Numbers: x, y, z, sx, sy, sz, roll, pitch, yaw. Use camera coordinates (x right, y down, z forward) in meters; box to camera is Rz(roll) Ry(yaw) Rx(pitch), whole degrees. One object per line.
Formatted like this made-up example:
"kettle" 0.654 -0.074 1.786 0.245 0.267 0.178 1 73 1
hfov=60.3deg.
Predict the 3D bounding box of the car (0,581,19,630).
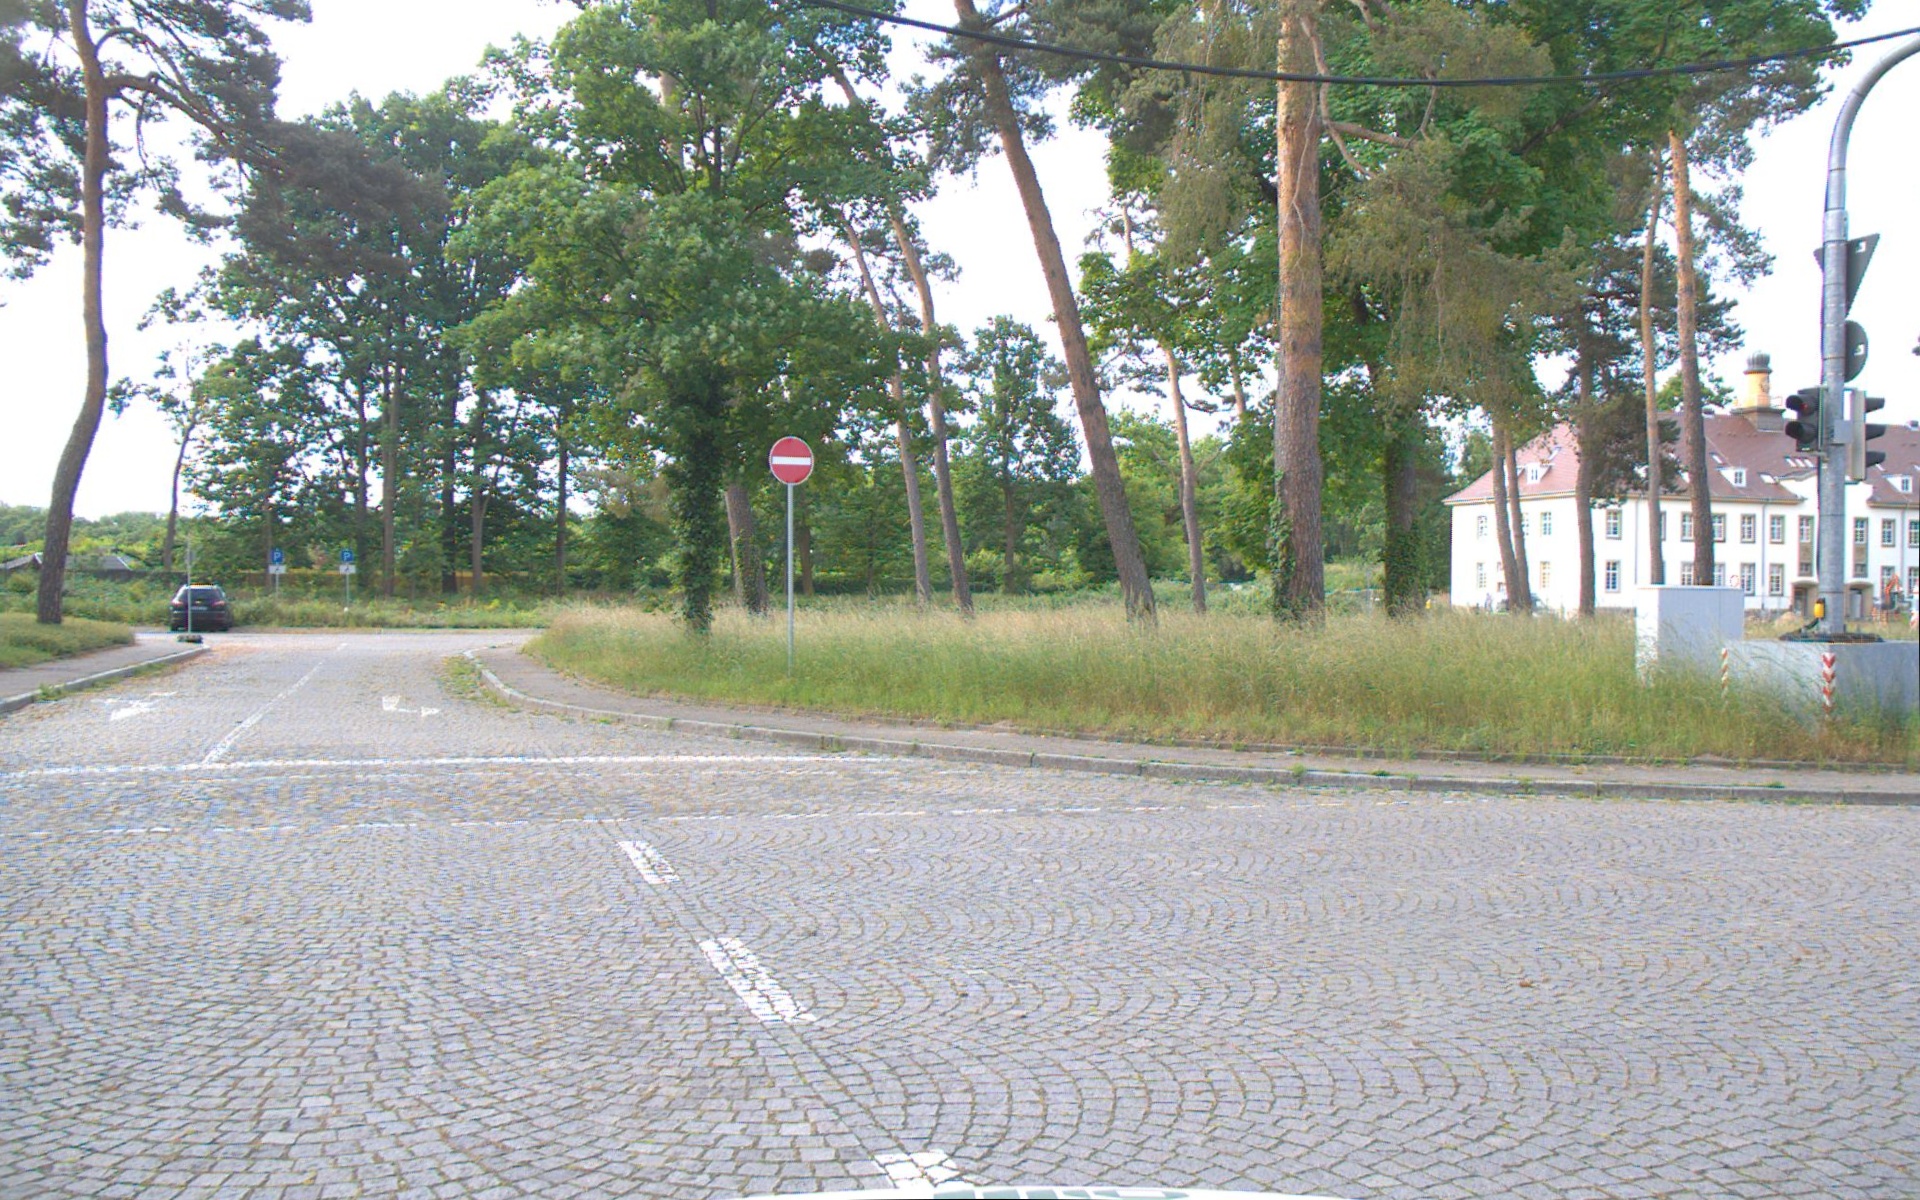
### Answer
"car" -33.036 0.170 55.298 1.682 1.638 4.042 2 0 -15

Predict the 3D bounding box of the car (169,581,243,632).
"car" -25.972 0.205 57.079 1.683 1.638 4.040 2 0 -16

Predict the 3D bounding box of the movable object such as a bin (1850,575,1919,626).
"movable object such as a bin" 70.319 0.063 125.514 2.091 3.705 6.134 2 0 -1
